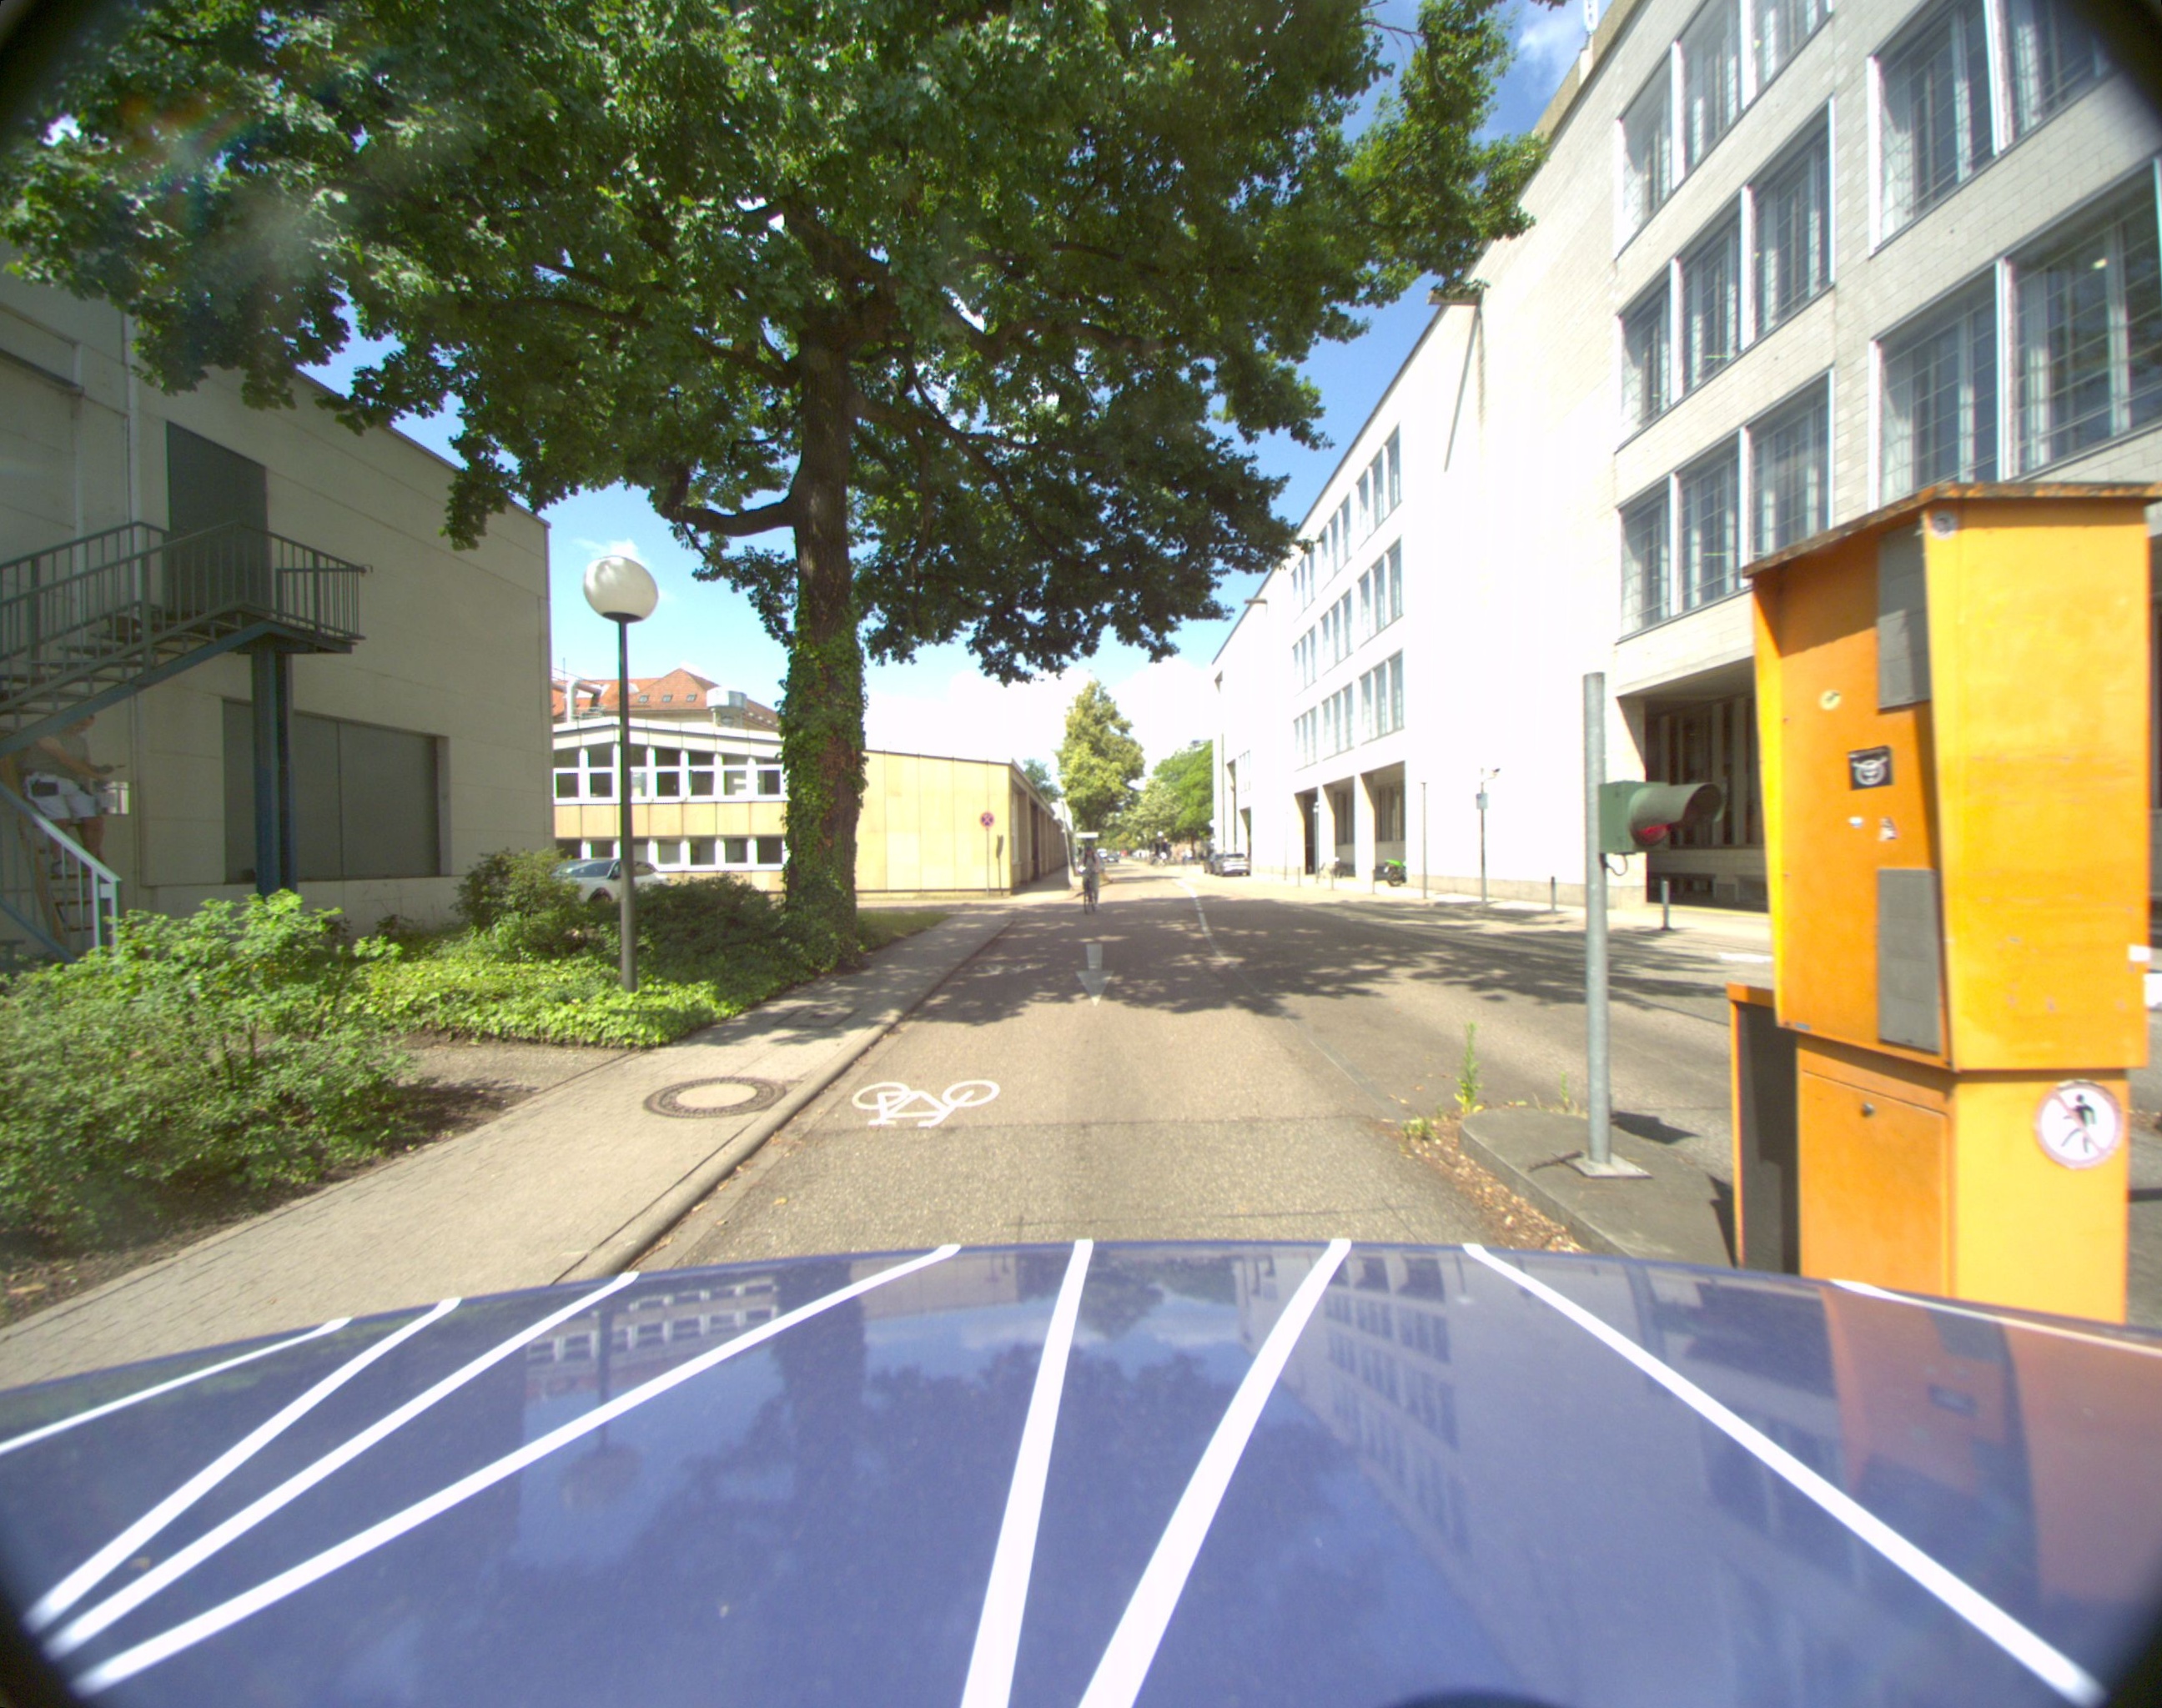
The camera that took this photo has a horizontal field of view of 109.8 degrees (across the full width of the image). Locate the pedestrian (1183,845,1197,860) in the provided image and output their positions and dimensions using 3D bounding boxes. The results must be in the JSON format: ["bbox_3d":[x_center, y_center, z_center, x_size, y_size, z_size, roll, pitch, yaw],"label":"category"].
[{"bbox_3d":[13.189,-0.179,92.078,1.400,1.814,1.369,-2,1,0],"label":"pedestrian"}]

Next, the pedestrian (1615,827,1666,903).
[{"bbox_3d":[14.092,0.276,19.168,0.733,1.870,0.719,-2,1,1],"label":"pedestrian"}]

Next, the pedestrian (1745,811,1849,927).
[{"bbox_3d":[12.867,0.250,13.685,0.850,2.002,1.066,-1,1,-1],"label":"pedestrian"}]

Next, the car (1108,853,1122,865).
[{"bbox_3d":[5.133,0.701,114.814,1.998,1.805,4.000,-1,0,2],"label":"car"}]

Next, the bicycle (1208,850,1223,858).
[{"bbox_3d":[18.113,0.034,102.296,2.127,1.052,0.681,-2,1,-29],"label":"bicycle"}]

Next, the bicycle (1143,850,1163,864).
[{"bbox_3d":[7.525,0.318,79.640,0.800,1.485,2.056,-3,1,-42],"label":"bicycle"}]

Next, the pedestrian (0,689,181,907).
[{"bbox_3d":[-9.945,-0.513,7.508,0.929,2.002,0.950,0,1,4],"label":"pedestrian"}]

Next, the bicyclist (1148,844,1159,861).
[{"bbox_3d":[7.574,-0.113,79.536,0.763,1.766,0.731,-3,2,-42],"label":"bicyclist"}]

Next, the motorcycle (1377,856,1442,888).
[{"bbox_3d":[12.409,0.669,28.730,2.173,1.131,0.774,-1,1,-9],"label":"motorcycle"}]

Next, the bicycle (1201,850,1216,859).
[{"bbox_3d":[17.445,0.068,103.882,2.127,1.052,0.681,-2,1,-29],"label":"bicycle"}]

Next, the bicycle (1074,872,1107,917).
[{"bbox_3d":[0.215,1.029,19.723,0.781,1.042,1.912,-1,0,-1],"label":"bicycle"}]

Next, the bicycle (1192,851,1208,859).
[{"bbox_3d":[16.589,0.092,105.844,2.127,1.052,0.621,-2,1,-29],"label":"bicycle"}]

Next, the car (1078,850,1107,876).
[{"bbox_3d":[0.732,0.522,48.144,1.760,1.559,3.817,0,0,0],"label":"car"}]

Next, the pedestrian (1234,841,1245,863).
[{"bbox_3d":[14.742,-0.168,70.839,0.755,2.002,1.081,-2,1,0],"label":"pedestrian"}]

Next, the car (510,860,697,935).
[{"bbox_3d":[-10.964,0.918,17.848,1.671,1.468,4.181,-1,1,1],"label":"car"}]

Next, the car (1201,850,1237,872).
[{"bbox_3d":[9.527,0.454,52.697,1.730,1.414,4.664,-1,0,1],"label":"car"}]

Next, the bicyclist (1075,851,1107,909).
[{"bbox_3d":[0.253,0.662,19.661,0.781,1.478,0.695,-1,1,-1],"label":"bicyclist"}]

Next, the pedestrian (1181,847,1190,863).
[{"bbox_3d":[11.359,0.080,82.669,0.760,1.715,1.235,-4,1,11],"label":"pedestrian"}]

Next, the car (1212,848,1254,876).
[{"bbox_3d":[9.385,0.466,47.323,1.730,1.526,4.405,-3,1,1],"label":"car"}]

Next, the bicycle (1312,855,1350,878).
[{"bbox_3d":[12.464,0.599,37.891,1.643,1.080,0.608,-2,1,-5],"label":"bicycle"}]

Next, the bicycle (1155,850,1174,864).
[{"bbox_3d":[8.849,0.302,80.885,1.930,1.485,0.641,-1,1,42],"label":"bicycle"}]

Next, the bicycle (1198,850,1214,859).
[{"bbox_3d":[17.192,0.071,104.605,2.127,1.052,0.621,-2,1,-29],"label":"bicycle"}]

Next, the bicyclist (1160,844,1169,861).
[{"bbox_3d":[8.868,-0.164,80.835,0.695,1.755,0.611,0,2,43],"label":"bicyclist"}]

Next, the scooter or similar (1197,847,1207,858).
[{"bbox_3d":[13.553,-0.199,85.274,0.713,1.184,1.617,-1,2,23],"label":"scooter or similar"}]

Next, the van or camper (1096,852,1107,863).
[{"bbox_3d":[4.666,0.671,168.740,1.997,2.348,4.385,-1,0,7],"label":"van or camper"}]

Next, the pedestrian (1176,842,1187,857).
[{"bbox_3d":[14.595,-0.646,109.990,1.400,2.002,1.369,-2,1,0],"label":"pedestrian"}]
